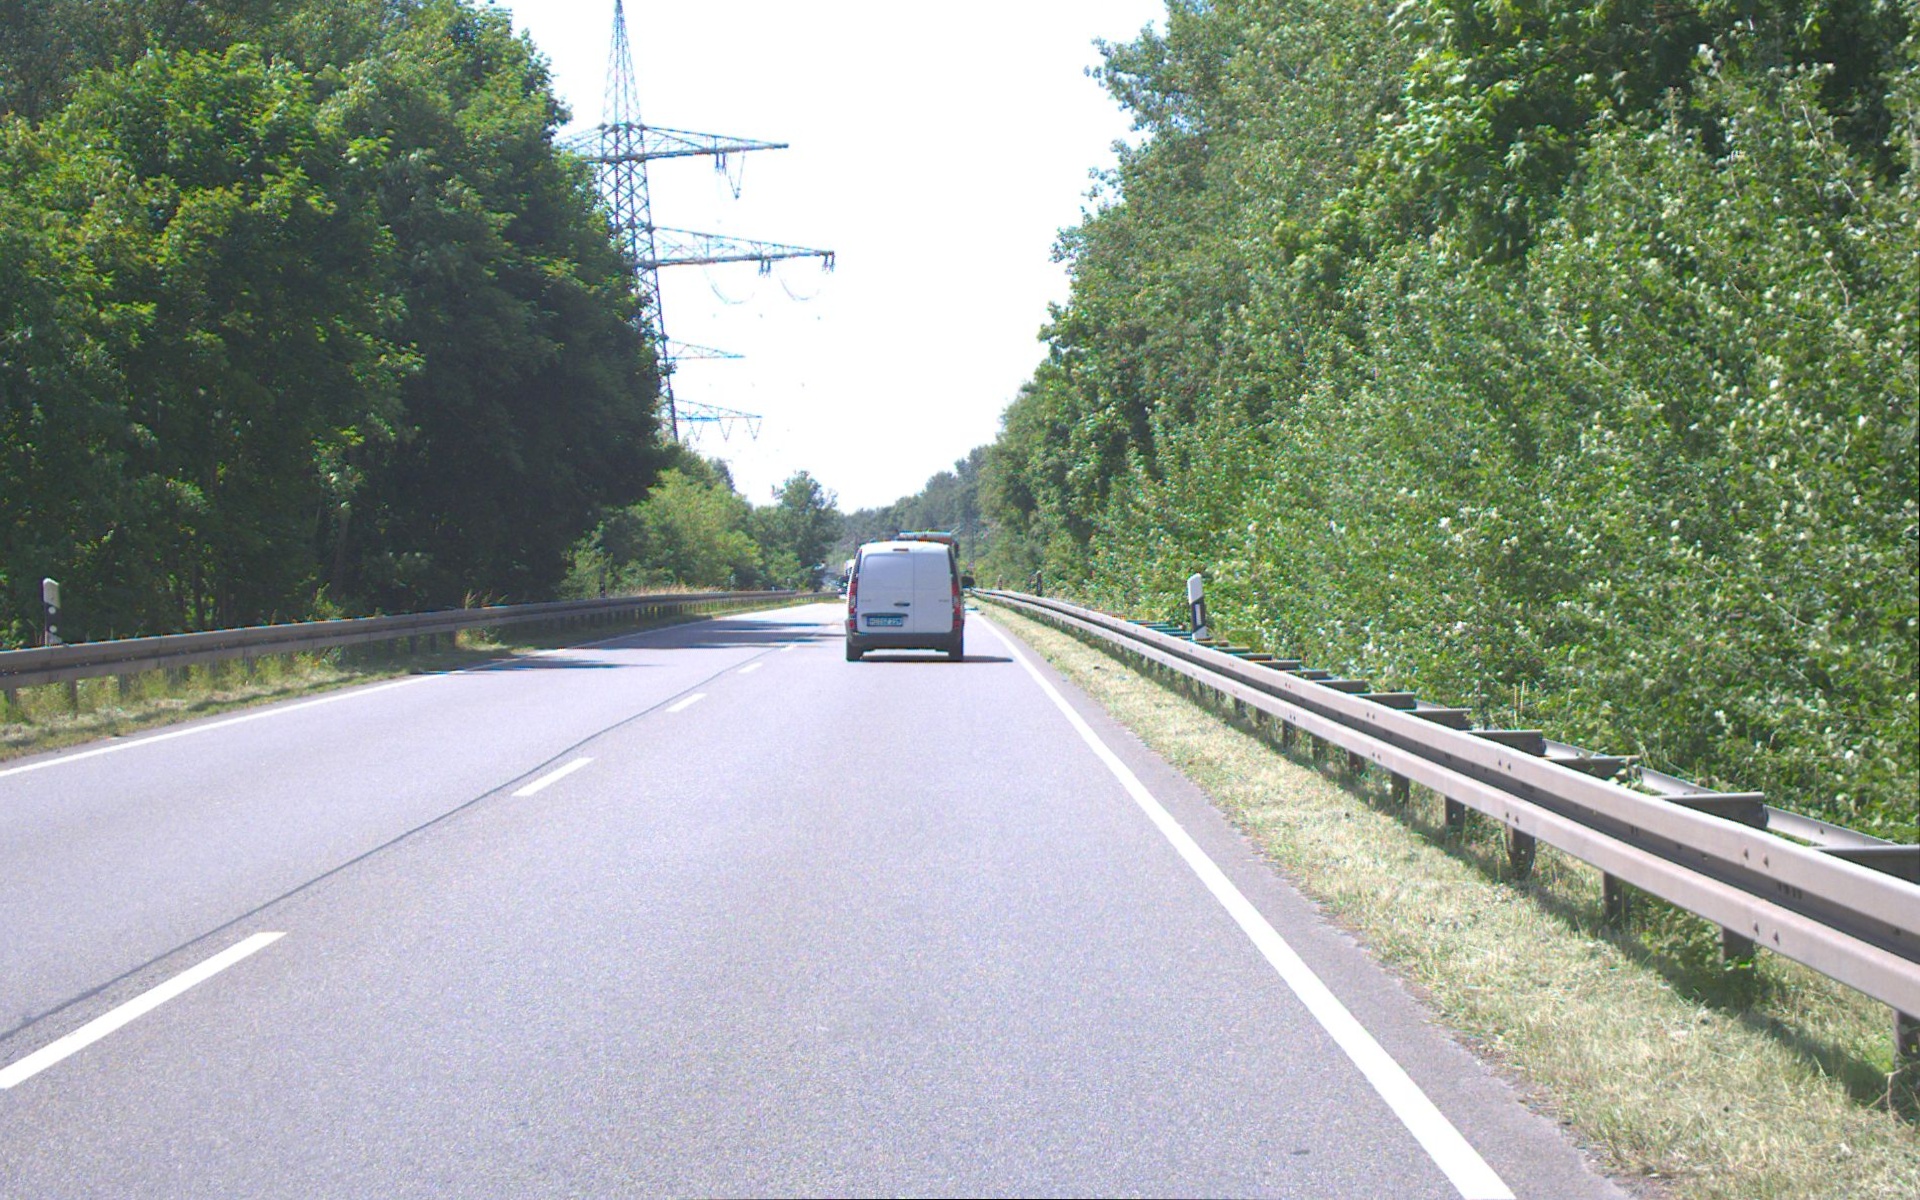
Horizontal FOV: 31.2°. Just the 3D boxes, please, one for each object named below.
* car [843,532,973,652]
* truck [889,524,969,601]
[{"bbox_3d":[-0.777,-0.155,51.988,1.875,1.735,4.000,0,1,-1],"label":"car"},{"bbox_3d":[-1.371,-1.686,149.318,3.296,3.161,14.405,0,1,-1],"label":"truck"}]
